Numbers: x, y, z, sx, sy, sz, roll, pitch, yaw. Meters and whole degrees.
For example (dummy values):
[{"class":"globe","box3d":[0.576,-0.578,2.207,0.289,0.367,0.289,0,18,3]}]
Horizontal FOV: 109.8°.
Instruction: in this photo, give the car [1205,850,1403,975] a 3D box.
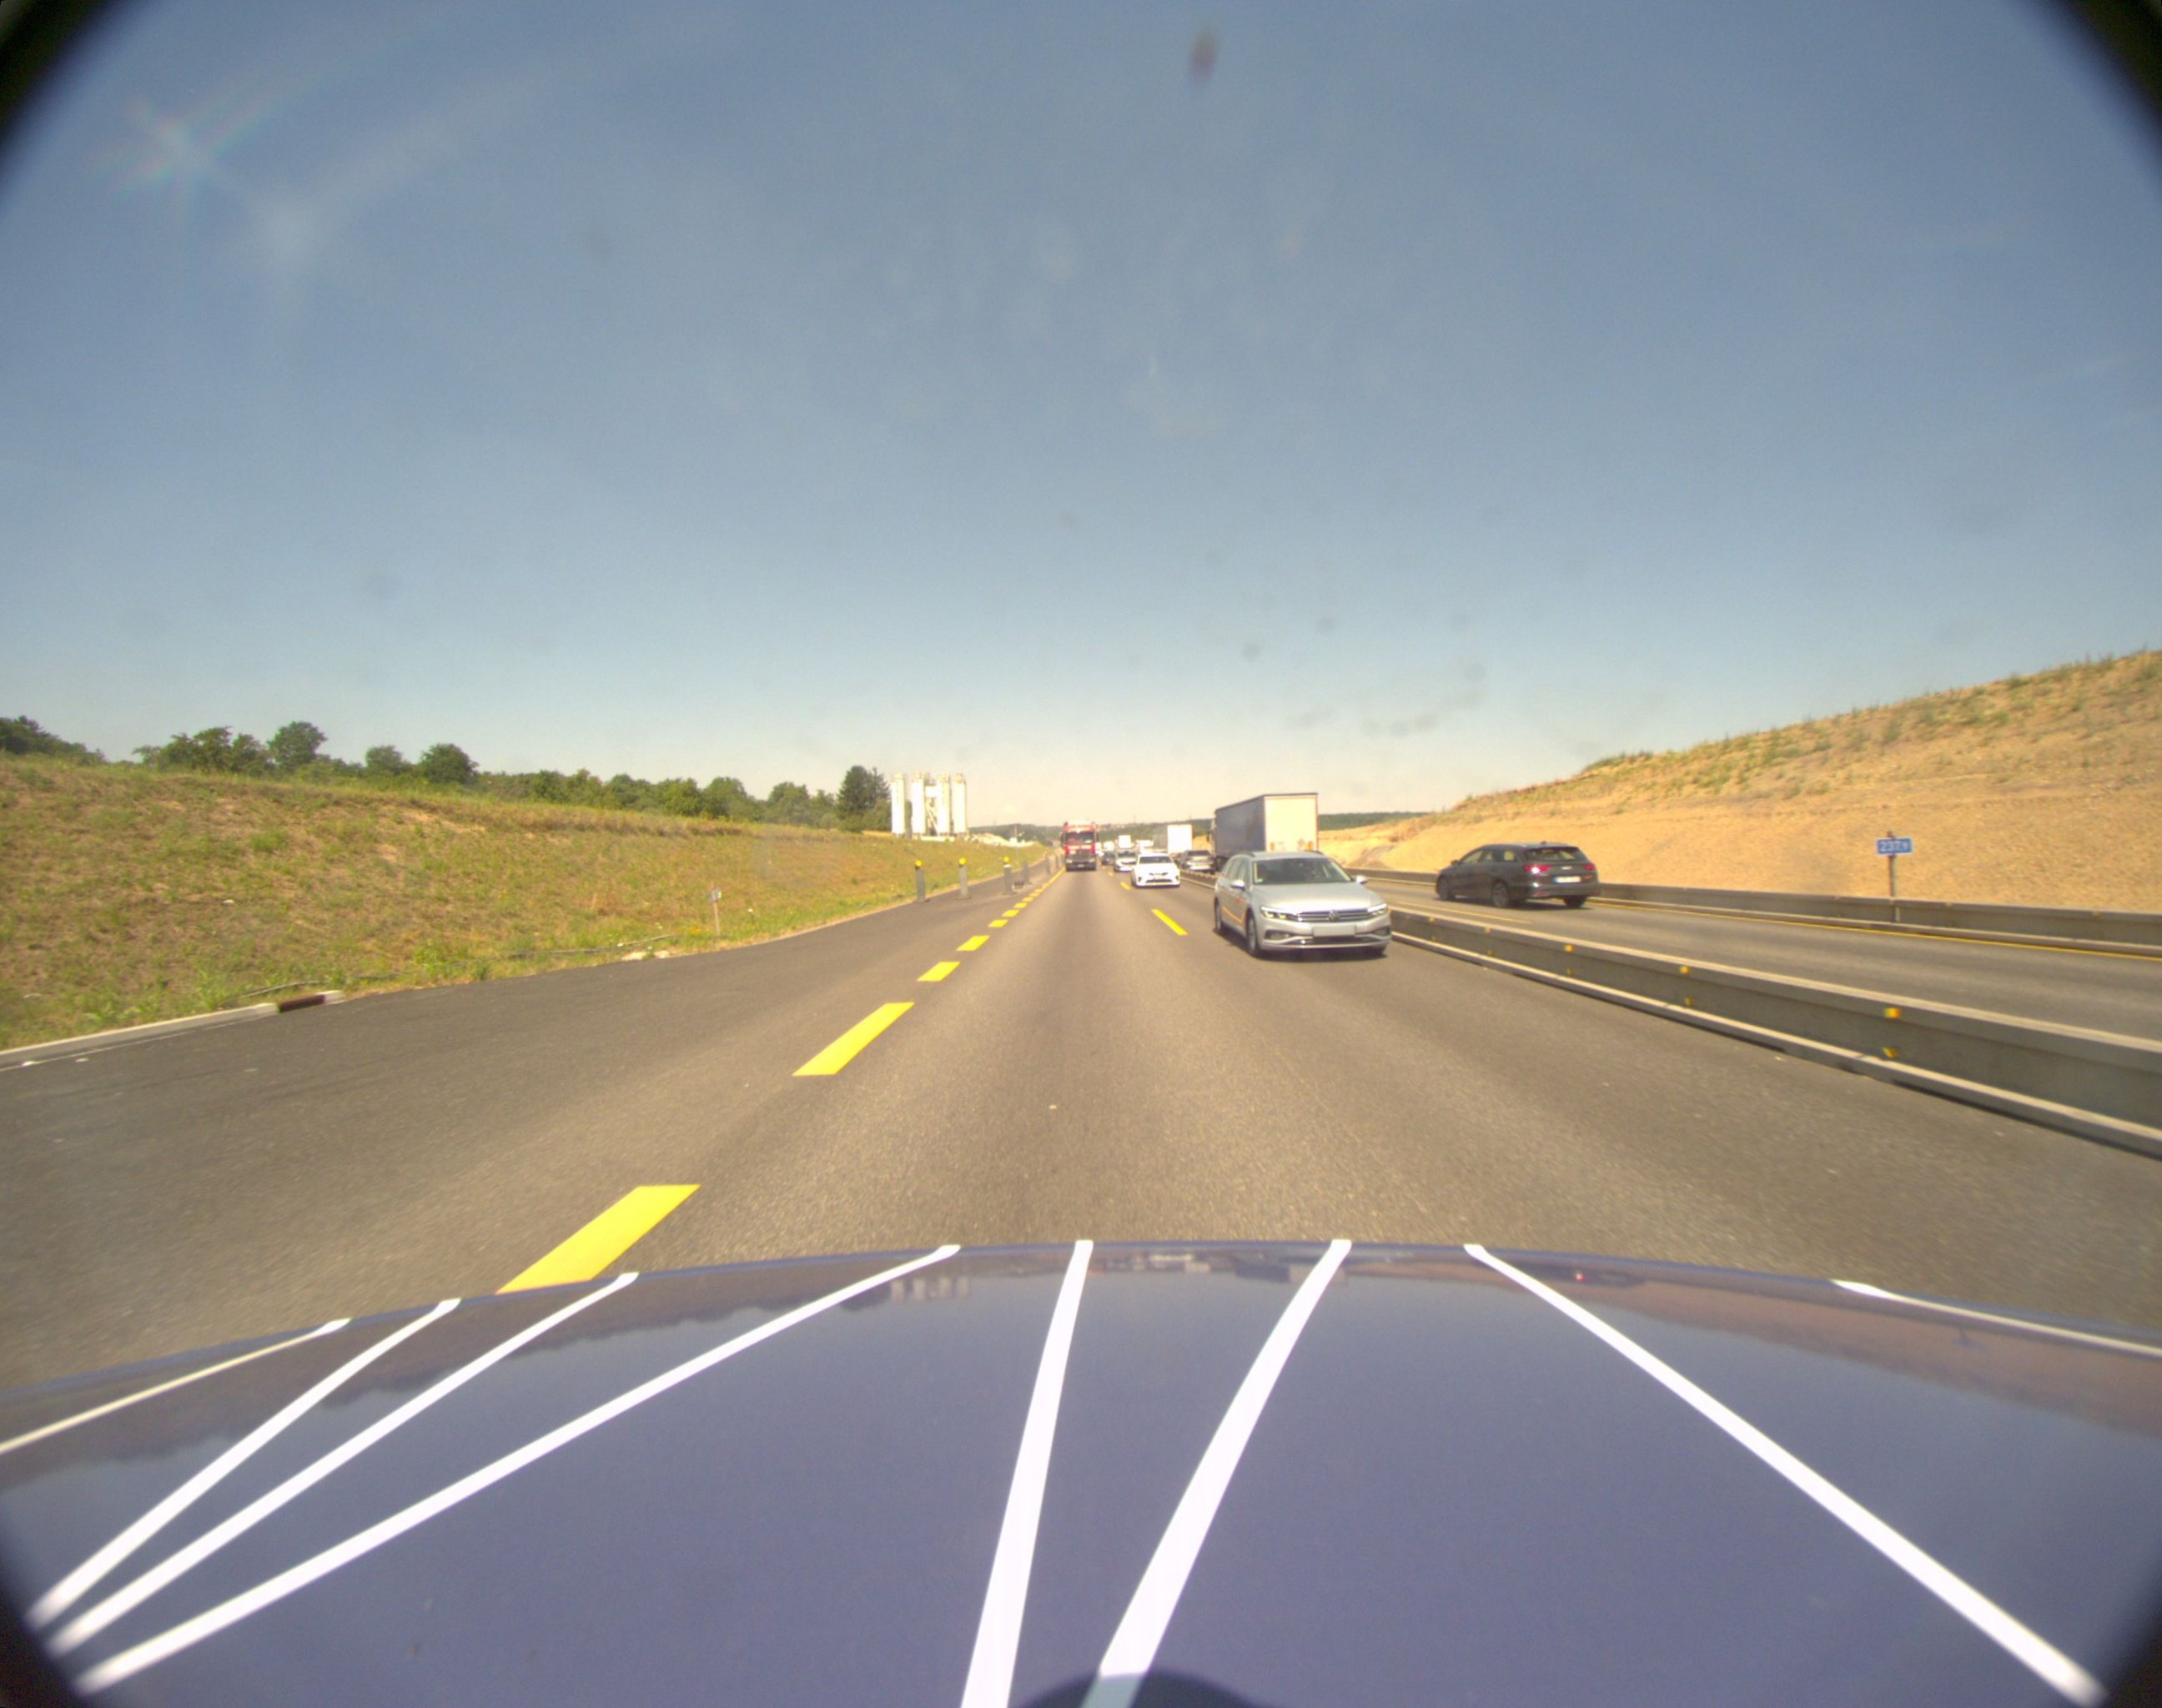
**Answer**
[{"class":"car","box3d":[3.170,0.734,11.706,1.804,1.499,4.100,-2,0,0]}]

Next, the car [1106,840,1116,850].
[{"class":"car","box3d":[7.335,-2.265,186.471,1.999,2.279,5.341,-2,1,0]}]

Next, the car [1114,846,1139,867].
[{"class":"car","box3d":[3.314,0.128,56.050,1.601,1.390,3.694,-2,1,1]}]

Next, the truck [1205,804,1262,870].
[{"class":"truck","box3d":[9.991,-1.094,50.232,2.598,4.030,5.149,-2,1,0]}]

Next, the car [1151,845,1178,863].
[{"class":"car","box3d":[7.295,-0.031,66.681,1.812,1.480,4.242,-2,1,0]}]

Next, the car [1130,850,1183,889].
[{"class":"car","box3d":[3.118,0.602,32.092,1.875,1.390,4.029,-2,1,1]}]

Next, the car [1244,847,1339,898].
[{"class":"car","box3d":[6.779,0.516,25.063,1.733,1.379,4.859,-2,1,0]}]

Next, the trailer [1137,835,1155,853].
[{"class":"trailer","box3d":[10.349,-1.605,121.181,2.317,2.671,6.754,0,1,-1]}]

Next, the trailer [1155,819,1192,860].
[{"class":"trailer","box3d":[10.298,-1.568,85.812,2.508,4.155,15.531,0,1,1]}]

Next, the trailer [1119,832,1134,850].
[{"class":"trailer","box3d":[10.869,-3.233,183.444,2.861,4.070,13.649,-1,1,0]}]

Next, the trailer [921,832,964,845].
[{"class":"trailer","box3d":[-30.555,-3.400,167.947,8.919,2.592,2.463,-2,2,-3]}]

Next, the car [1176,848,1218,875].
[{"class":"car","box3d":[6.715,0.400,44.214,1.780,1.546,4.138,0,1,-1]}]

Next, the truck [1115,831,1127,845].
[{"class":"truck","box3d":[11.105,-4.372,210.222,2.651,3.695,9.480,-2,1,0]}]

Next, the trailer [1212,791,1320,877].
[{"class":"trailer","box3d":[9.936,-1.025,42.892,2.660,3.915,13.994,-2,1,1]}]

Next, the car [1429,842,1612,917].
[{"class":"car","box3d":[10.025,0.488,17.793,1.634,1.416,4.500,-2,1,0]}]

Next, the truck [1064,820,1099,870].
[{"class":"truck","box3d":[0.153,-0.840,64.244,2.537,3.799,9.479,-2,1,1]}]
